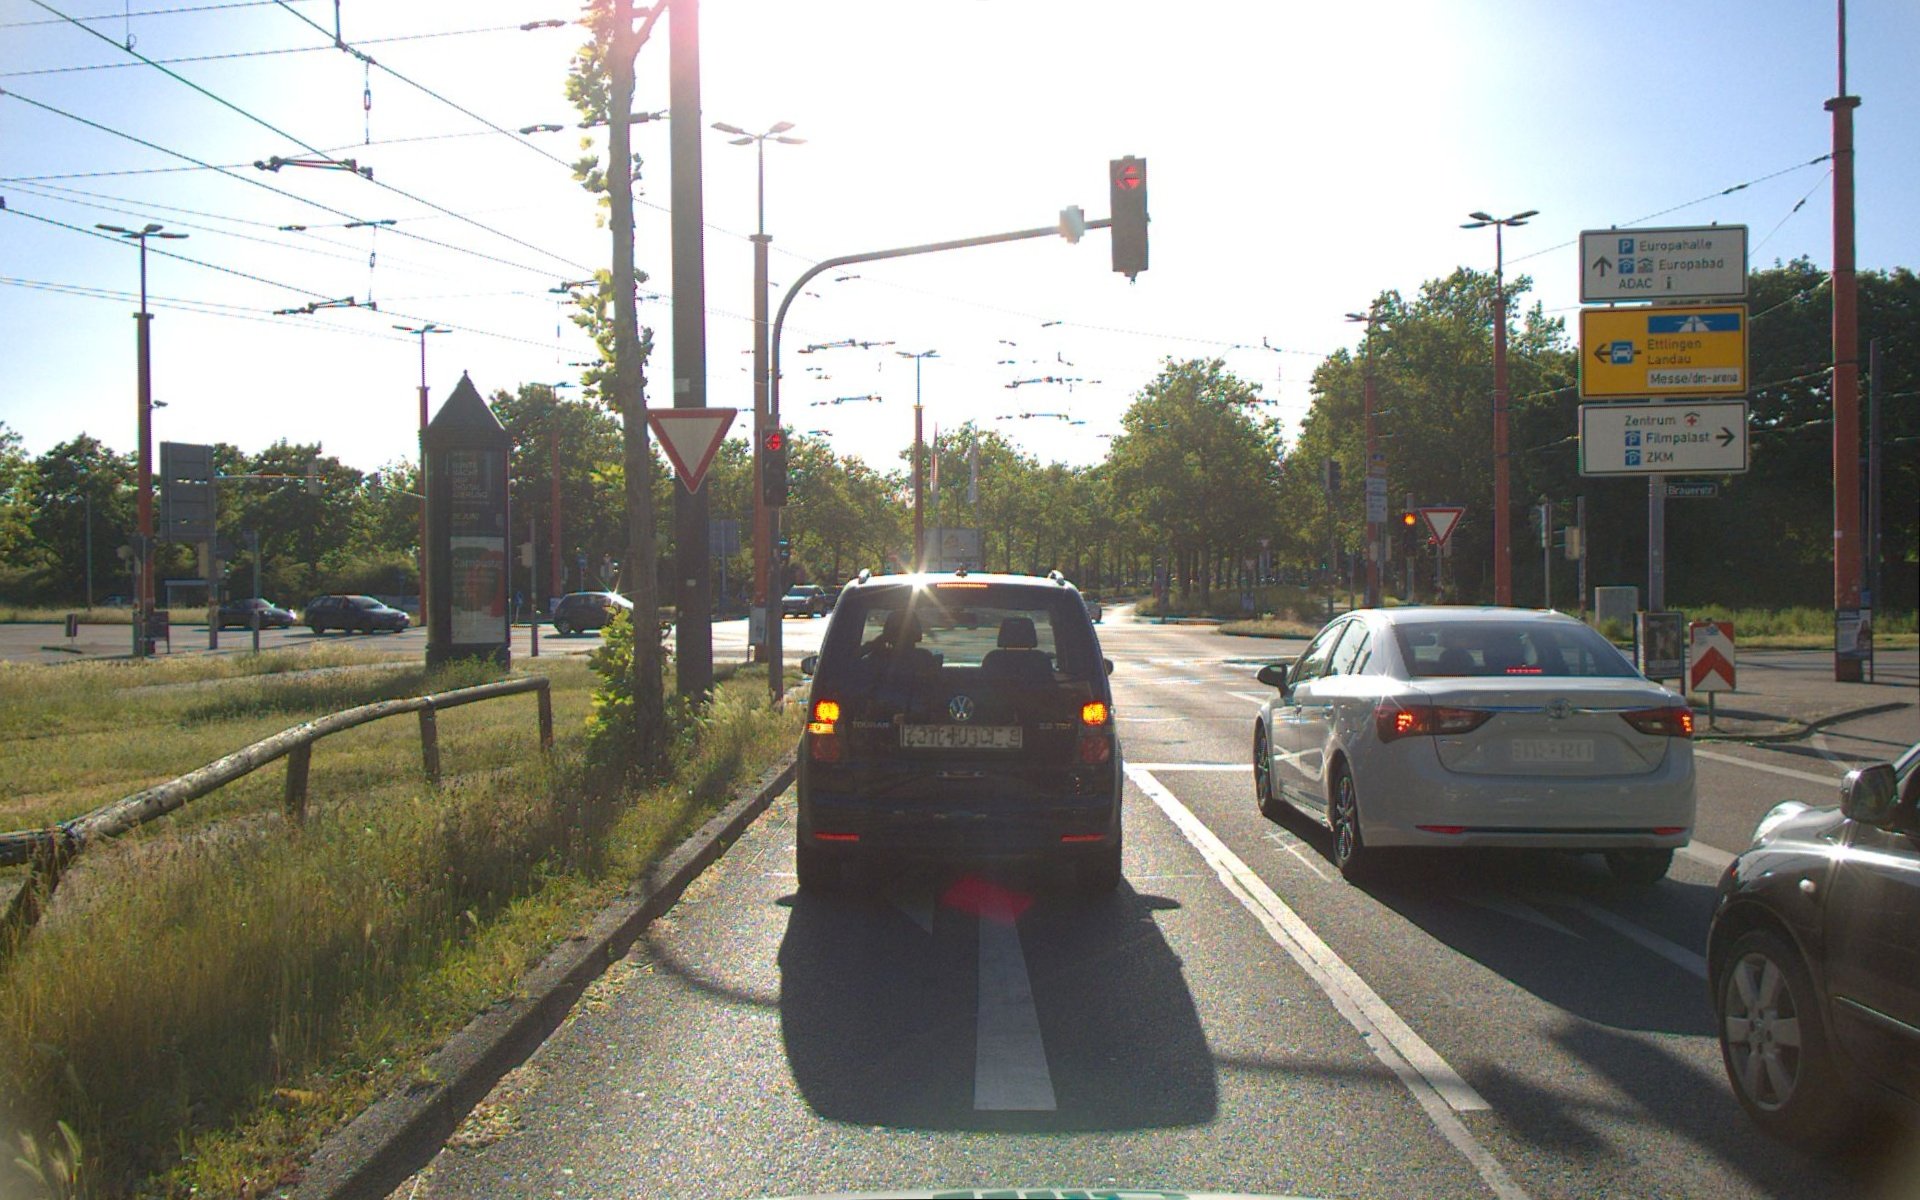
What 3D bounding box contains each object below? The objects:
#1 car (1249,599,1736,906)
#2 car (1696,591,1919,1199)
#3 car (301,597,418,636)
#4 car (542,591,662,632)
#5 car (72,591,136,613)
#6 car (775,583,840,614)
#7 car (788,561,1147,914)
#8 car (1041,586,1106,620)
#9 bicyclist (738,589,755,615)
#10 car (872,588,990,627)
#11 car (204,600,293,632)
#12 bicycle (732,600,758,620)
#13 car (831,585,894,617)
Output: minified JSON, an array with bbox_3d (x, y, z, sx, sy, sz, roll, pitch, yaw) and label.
[{"bbox_3d":[2.949,0.741,10.113,1.679,1.480,4.144,0,0,0],"label":"car"},{"bbox_3d":[3.128,0.743,3.514,1.525,1.532,3.515,0,0,-1],"label":"car"},{"bbox_3d":[-23.407,0.624,64.457,4.142,1.489,1.913,0,0,24],"label":"car"},{"bbox_3d":[-13.308,0.426,61.610,3.957,1.489,1.915,0,0,5],"label":"car"},{"bbox_3d":[-52.024,0.122,100.497,3.729,1.333,1.661,0,0,28],"label":"car"},{"bbox_3d":[-8.533,-0.081,93.099,1.951,1.714,4.831,0,0,17],"label":"car"},{"bbox_3d":[0.007,0.644,9.869,1.702,1.670,3.999,0,0,-1],"label":"car"},{"bbox_3d":[5.199,0.126,75.296,1.868,1.489,4.223,0,0,20],"label":"car"},{"bbox_3d":[-12.198,0.092,94.444,0.678,1.483,0.875,0,0,17],"label":"bicyclist"},{"bbox_3d":[-1.134,0.262,64.817,4.319,1.489,1.892,0,0,-33],"label":"car"},{"bbox_3d":[-30.657,0.667,71.218,3.734,1.333,1.738,0,0,32],"label":"car"},{"bbox_3d":[-12.229,0.567,94.224,0.719,1.109,1.962,0,0,18],"label":"bicycle"},{"bbox_3d":[-5.376,0.025,91.579,1.951,1.714,4.831,0,0,17],"label":"car"}]
